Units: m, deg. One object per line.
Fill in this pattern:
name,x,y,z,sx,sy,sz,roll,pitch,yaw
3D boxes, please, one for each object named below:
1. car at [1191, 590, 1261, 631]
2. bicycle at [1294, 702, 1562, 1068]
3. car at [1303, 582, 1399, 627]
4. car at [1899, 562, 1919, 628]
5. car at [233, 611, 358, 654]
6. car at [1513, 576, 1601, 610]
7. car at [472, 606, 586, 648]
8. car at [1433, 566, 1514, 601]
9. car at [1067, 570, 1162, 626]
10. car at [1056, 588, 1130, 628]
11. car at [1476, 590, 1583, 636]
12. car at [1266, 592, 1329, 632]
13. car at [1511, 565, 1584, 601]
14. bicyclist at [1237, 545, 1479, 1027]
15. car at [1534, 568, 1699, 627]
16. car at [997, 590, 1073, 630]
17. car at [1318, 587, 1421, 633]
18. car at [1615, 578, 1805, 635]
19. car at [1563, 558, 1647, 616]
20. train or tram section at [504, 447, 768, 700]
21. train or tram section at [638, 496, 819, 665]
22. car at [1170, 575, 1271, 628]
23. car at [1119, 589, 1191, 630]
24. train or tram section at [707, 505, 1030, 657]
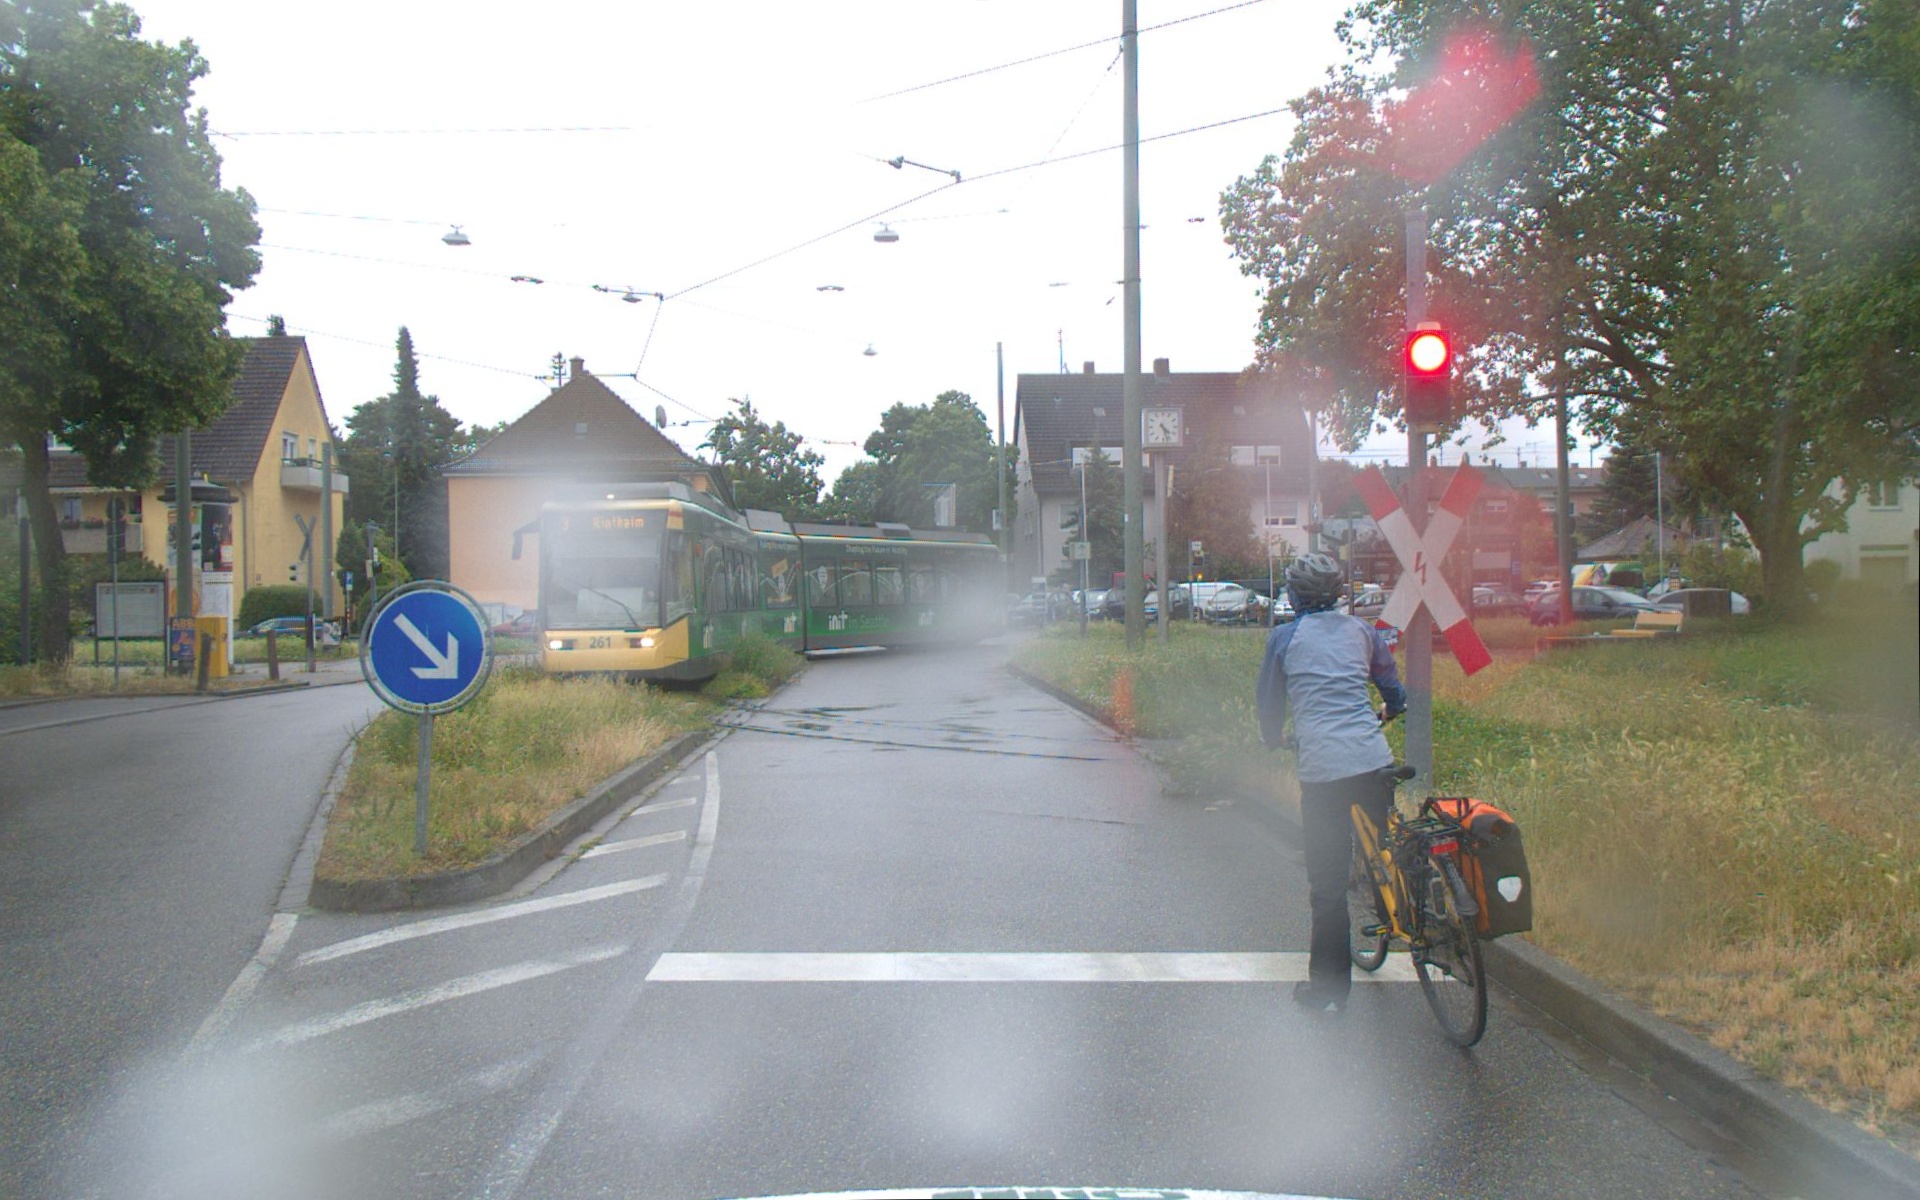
car,11.395,0.460,70.737,1.954,1.668,3.997,1,0,24
bicycle,1.651,0.951,6.073,0.437,1.022,1.727,-1,1,-2
car,18.088,0.230,76.540,3.907,1.985,1.999,1,-1,-3
car,28.137,-0.110,45.528,3.703,1.829,1.798,1,-1,43
car,-24.444,1.198,60.953,3.911,1.482,1.831,1,0,-7
car,31.060,-0.354,86.073,3.905,1.668,1.846,1,0,-1
car,-16.189,1.016,62.324,3.911,1.482,1.831,1,0,-7
car,28.547,-0.902,92.063,3.904,1.822,2.000,1,0,2
car,7.473,-0.115,79.908,4.301,2.610,2.001,1,-1,14
car,5.797,0.367,71.600,1.954,1.668,3.997,1,0,24
car,22.606,0.511,65.741,3.609,1.731,1.890,1,0,0
car,14.556,0.518,71.175,1.804,1.668,3.997,1,0,24
car,34.204,-0.978,96.391,1.963,2.049,3.978,1,0,-19
bicyclist,1.448,0.645,6.142,0.653,1.654,0.852,1,-1,-2
car,18.014,-0.072,45.495,3.848,1.522,1.798,1,-1,43
car,3.332,0.443,72.807,1.954,1.668,3.997,1,0,24
car,16.148,0.395,65.340,3.609,1.731,1.890,1,0,0
car,18.467,0.152,40.859,3.902,1.308,1.847,1,0,6
car,28.820,-0.562,74.026,1.953,2.485,4.352,1,0,-2
train or tram section,-5.402,-0.408,30.086,2.705,3.615,12.200,-1,0,-2
train or tram section,-5.232,-0.423,38.308,2.701,3.615,4.992,-1,0,10
car,12.011,0.065,76.410,4.307,2.365,1.999,1,-1,-3
car,8.342,0.405,70.470,1.954,1.668,3.997,1,0,24
train or tram section,-2.040,-0.514,45.918,2.707,3.615,13.118,-1,0,27
